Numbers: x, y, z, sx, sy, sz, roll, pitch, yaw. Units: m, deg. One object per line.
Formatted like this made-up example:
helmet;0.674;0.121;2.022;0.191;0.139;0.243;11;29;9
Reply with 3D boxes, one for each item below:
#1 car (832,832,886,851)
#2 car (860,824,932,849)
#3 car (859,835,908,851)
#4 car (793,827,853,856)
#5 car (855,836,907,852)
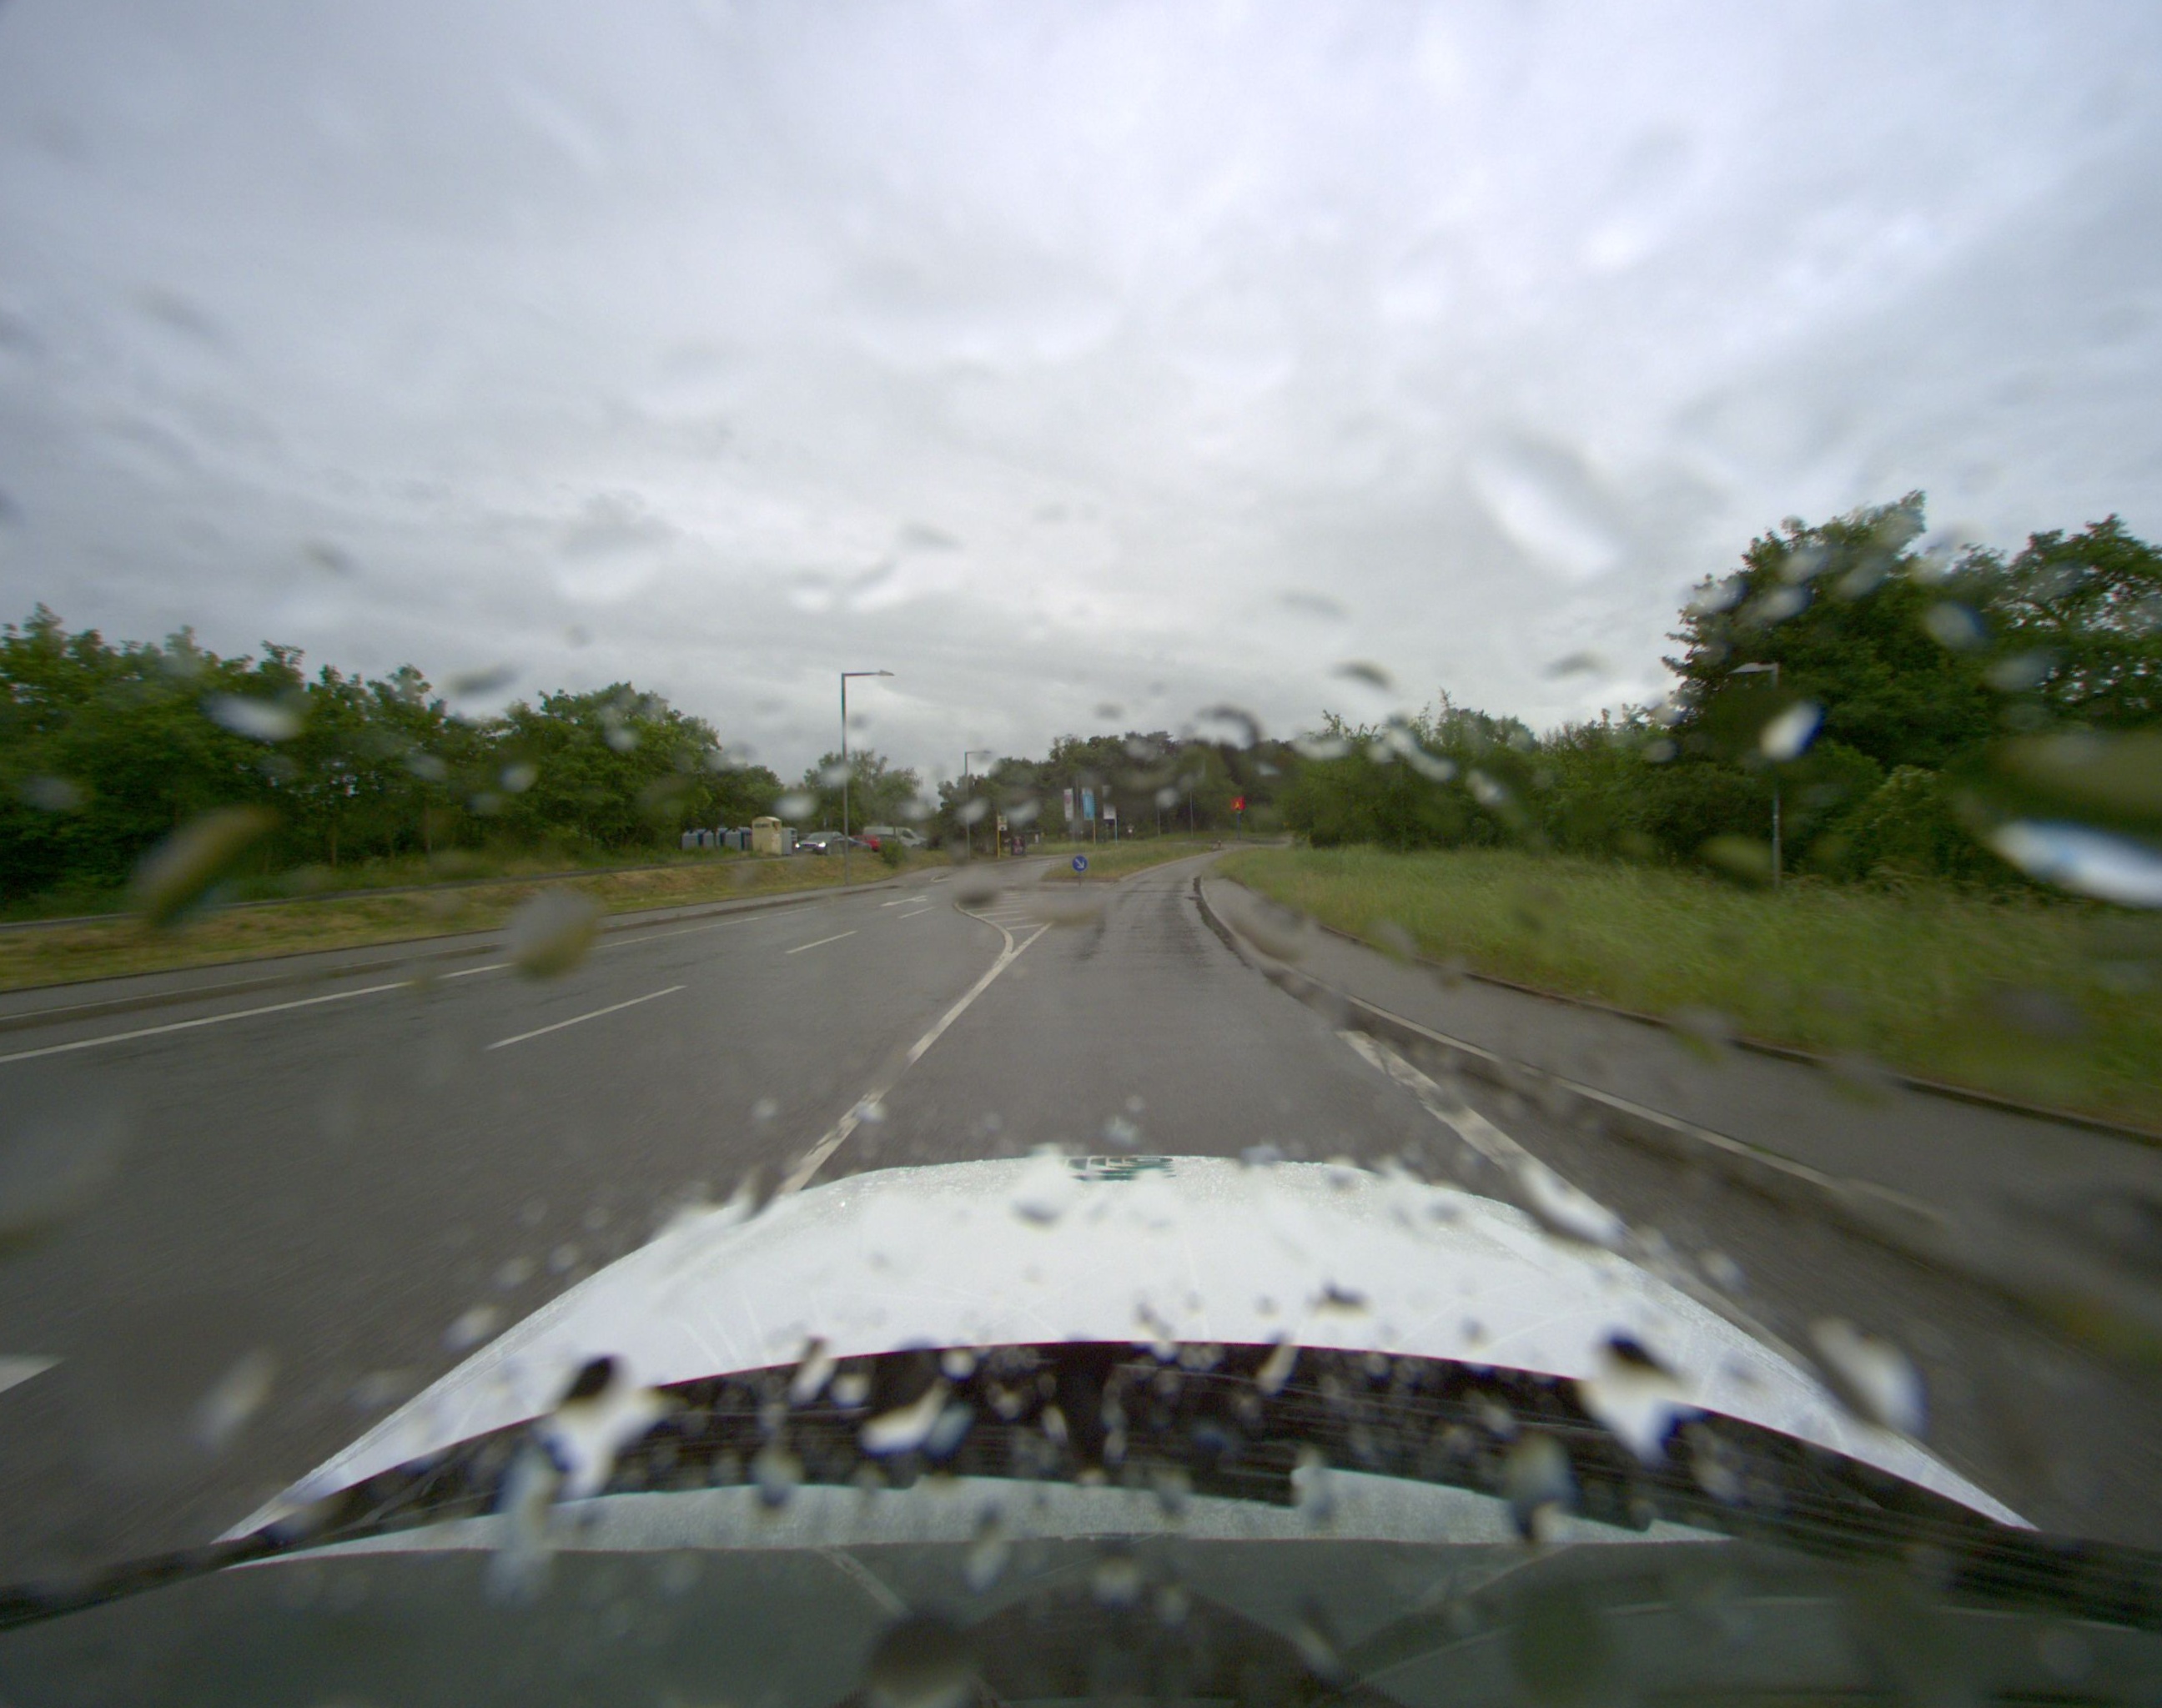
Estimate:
car;-18.649;-1.025;68.487;3.966;1.469;1.851;-1;1;6
car;-18.029;-1.727;79.570;6.530;2.397;2.140;0;-1;2
car;-17.872;-0.996;73.760;3.965;1.364;1.657;1;1;8
car;-15.015;-0.760;47.602;1.683;1.568;4.549;2;2;5
car;-17.583;-0.884;71.675;3.965;1.364;1.852;-1;1;8
